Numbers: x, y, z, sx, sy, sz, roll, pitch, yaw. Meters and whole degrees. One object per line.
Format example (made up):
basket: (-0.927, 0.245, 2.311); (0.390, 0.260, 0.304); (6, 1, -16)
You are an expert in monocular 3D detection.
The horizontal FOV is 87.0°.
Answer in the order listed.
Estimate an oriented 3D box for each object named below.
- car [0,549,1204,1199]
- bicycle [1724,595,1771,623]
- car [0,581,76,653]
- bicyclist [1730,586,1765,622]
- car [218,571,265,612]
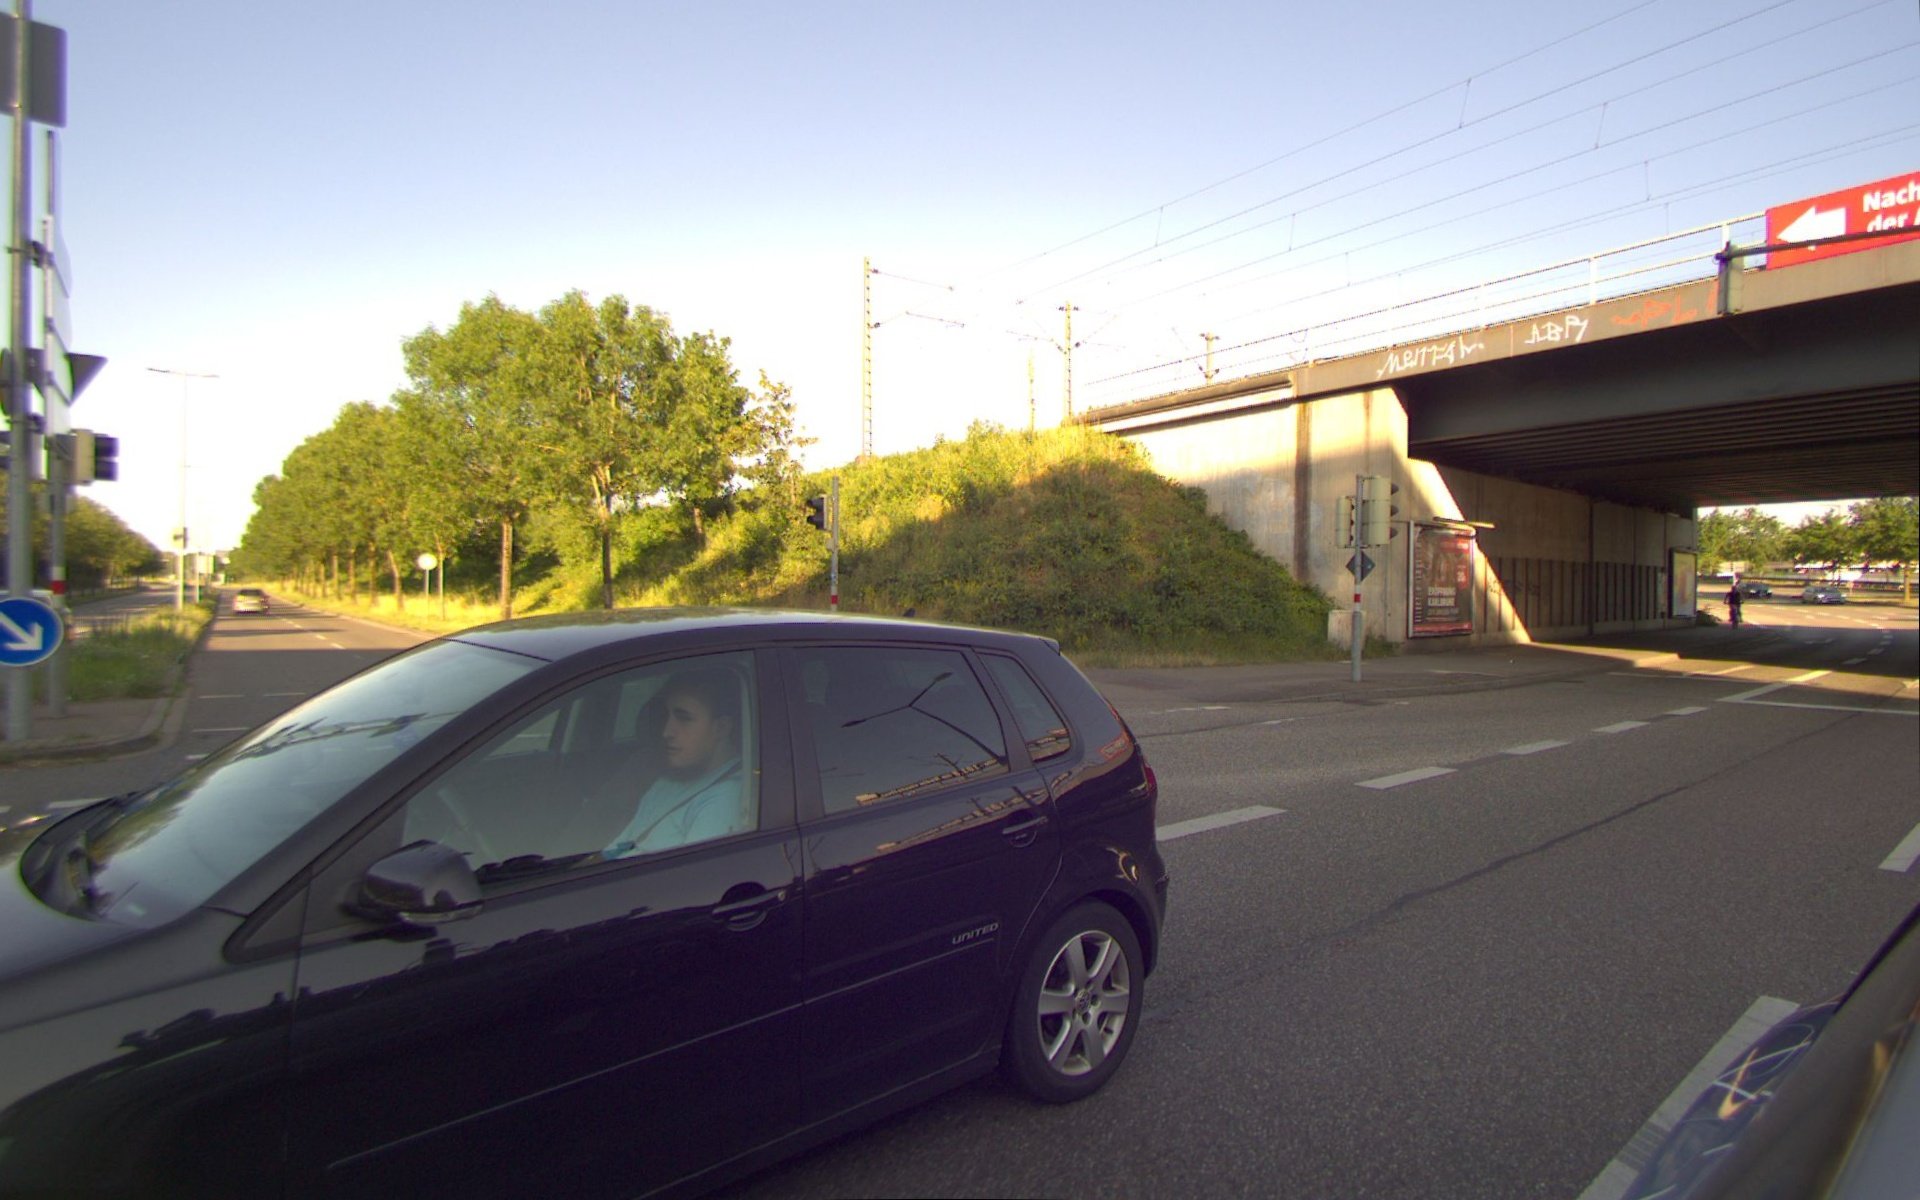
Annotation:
car: (-1.091, 0.633, 2.695); (3.620, 1.427, 1.618); (-1, 0, -42)
bicycle: (32.291, 0.349, 41.534); (0.773, 1.070, 2.479); (-1, 0, 21)
car: (-21.897, 0.390, 23.516); (1.857, 1.549, 3.995); (-1, 0, -39)
bicyclist: (32.262, 0.158, 41.480); (0.833, 1.439, 1.106); (-1, 0, 21)
car: (-40.426, -0.440, 56.895); (1.964, 2.206, 3.996); (-1, 0, -38)
